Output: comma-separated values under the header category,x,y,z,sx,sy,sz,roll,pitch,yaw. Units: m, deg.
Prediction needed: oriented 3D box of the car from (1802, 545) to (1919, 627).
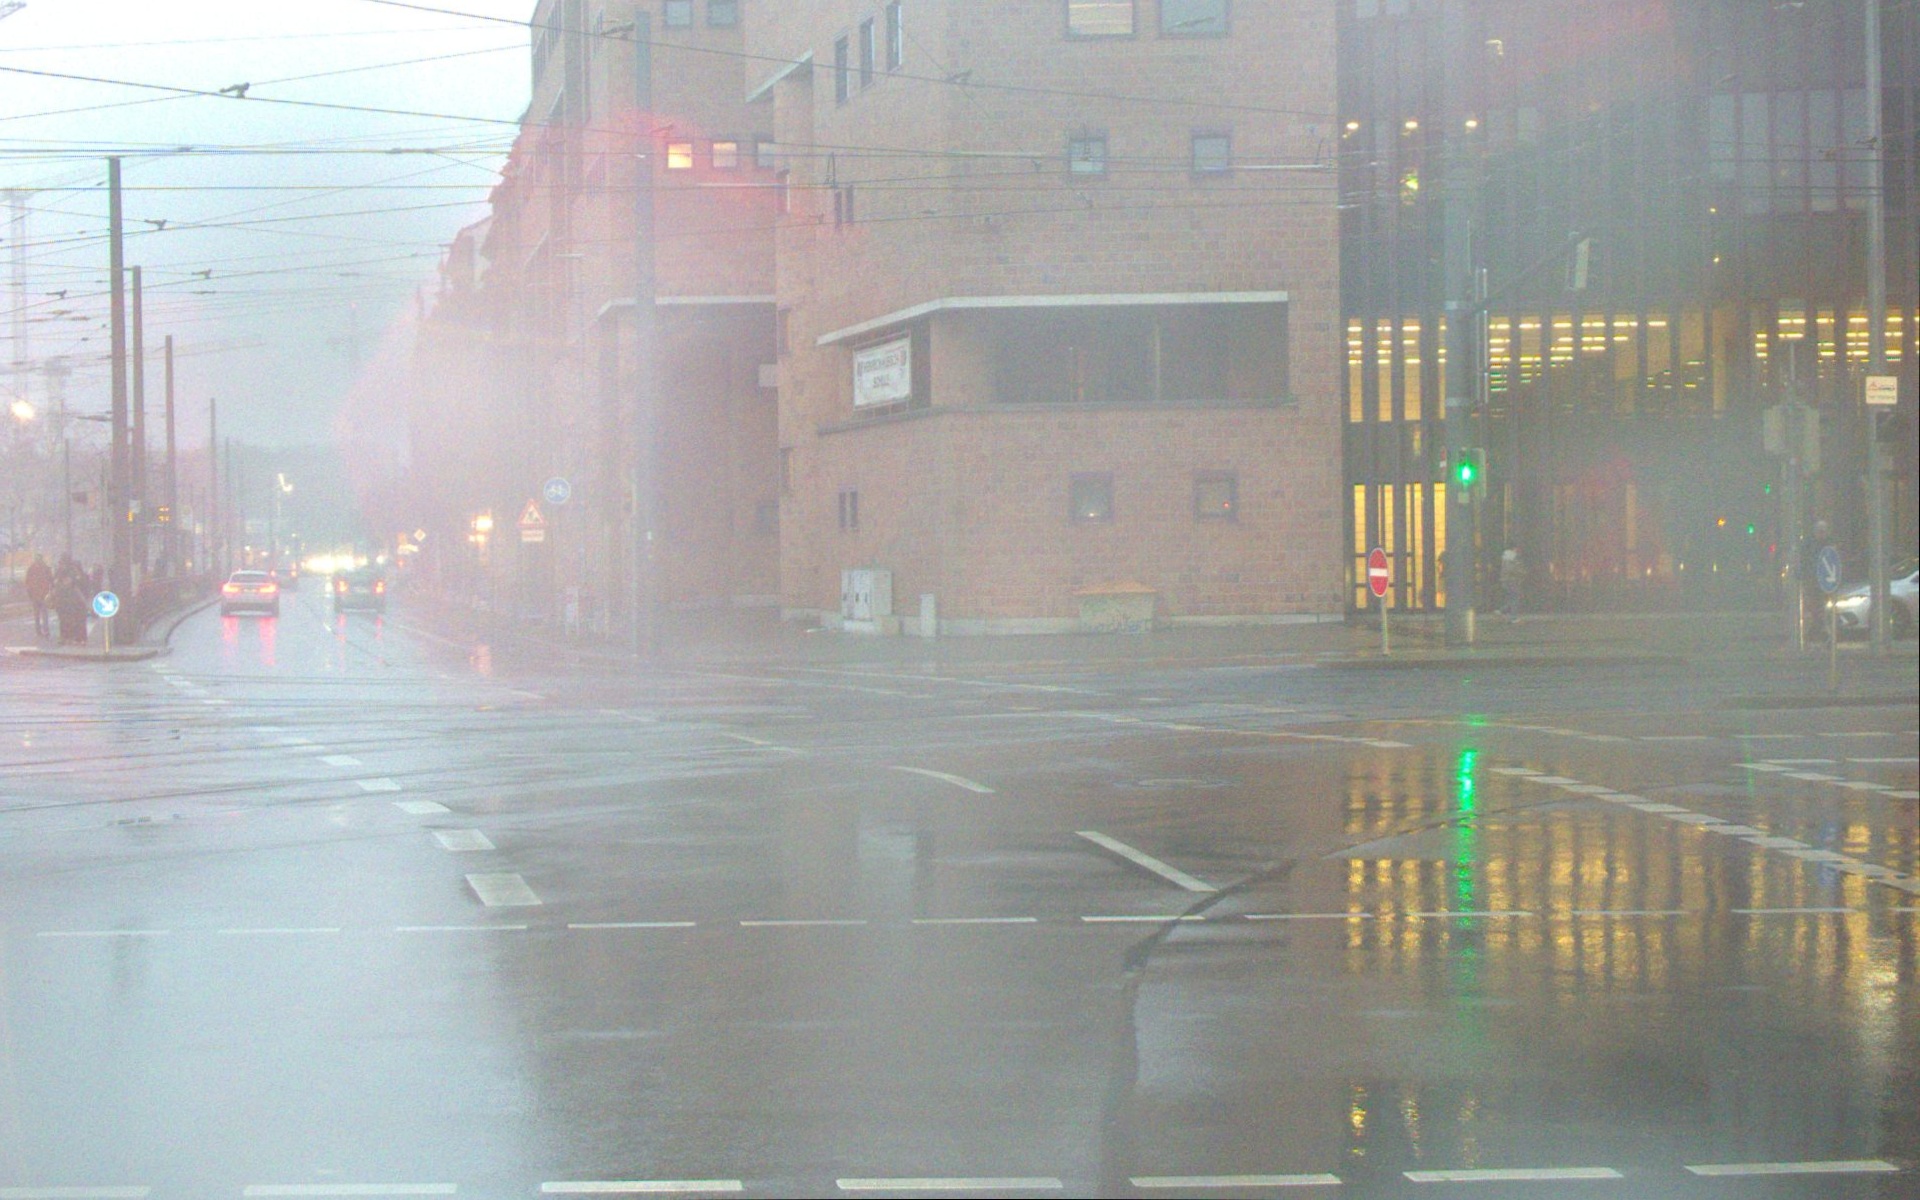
category,x,y,z,sx,sy,sz,roll,pitch,yaw
car,16.098,-0.247,56.537,3.980,1.305,1.815,-1,1,-8

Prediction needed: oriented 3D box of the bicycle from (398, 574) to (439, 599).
category,x,y,z,sx,sy,sz,roll,pitch,yaw
bicycle,-24.033,-0.596,152.579,1.729,1.051,0.371,-2,1,-12

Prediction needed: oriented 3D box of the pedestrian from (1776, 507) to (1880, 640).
category,x,y,z,sx,sy,sz,roll,pitch,yaw
pedestrian,11.915,-0.369,47.223,1.148,1.781,0.778,-1,1,-10

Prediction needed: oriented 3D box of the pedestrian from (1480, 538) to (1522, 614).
category,x,y,z,sx,sy,sz,roll,pitch,yaw
pedestrian,9.998,-0.454,63.515,0.737,1.384,0.737,-1,1,11

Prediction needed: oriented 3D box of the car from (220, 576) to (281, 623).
category,x,y,z,sx,sy,sz,roll,pitch,yaw
car,-23.277,-0.016,112.890,1.783,1.462,3.149,-1,1,-9

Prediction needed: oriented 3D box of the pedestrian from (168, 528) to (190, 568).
category,x,y,z,sx,sy,sz,roll,pitch,yaw
pedestrian,-29.081,-1.941,128.048,0.679,1.511,0.619,0,1,-23

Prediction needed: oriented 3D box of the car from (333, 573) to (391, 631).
category,x,y,z,sx,sy,sz,roll,pitch,yaw
car,-21.786,0.065,125.286,1.993,2.007,4.001,-1,1,-9

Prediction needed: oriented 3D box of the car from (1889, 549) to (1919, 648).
category,x,y,z,sx,sy,sz,roll,pitch,yaw
car,15.099,-0.094,47.430,3.980,1.336,1.815,-2,1,-8

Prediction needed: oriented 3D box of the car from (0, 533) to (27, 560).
category,x,y,z,sx,sy,sz,roll,pitch,yaw
car,-48.822,-2.752,176.237,1.681,1.349,3.547,0,0,-12
